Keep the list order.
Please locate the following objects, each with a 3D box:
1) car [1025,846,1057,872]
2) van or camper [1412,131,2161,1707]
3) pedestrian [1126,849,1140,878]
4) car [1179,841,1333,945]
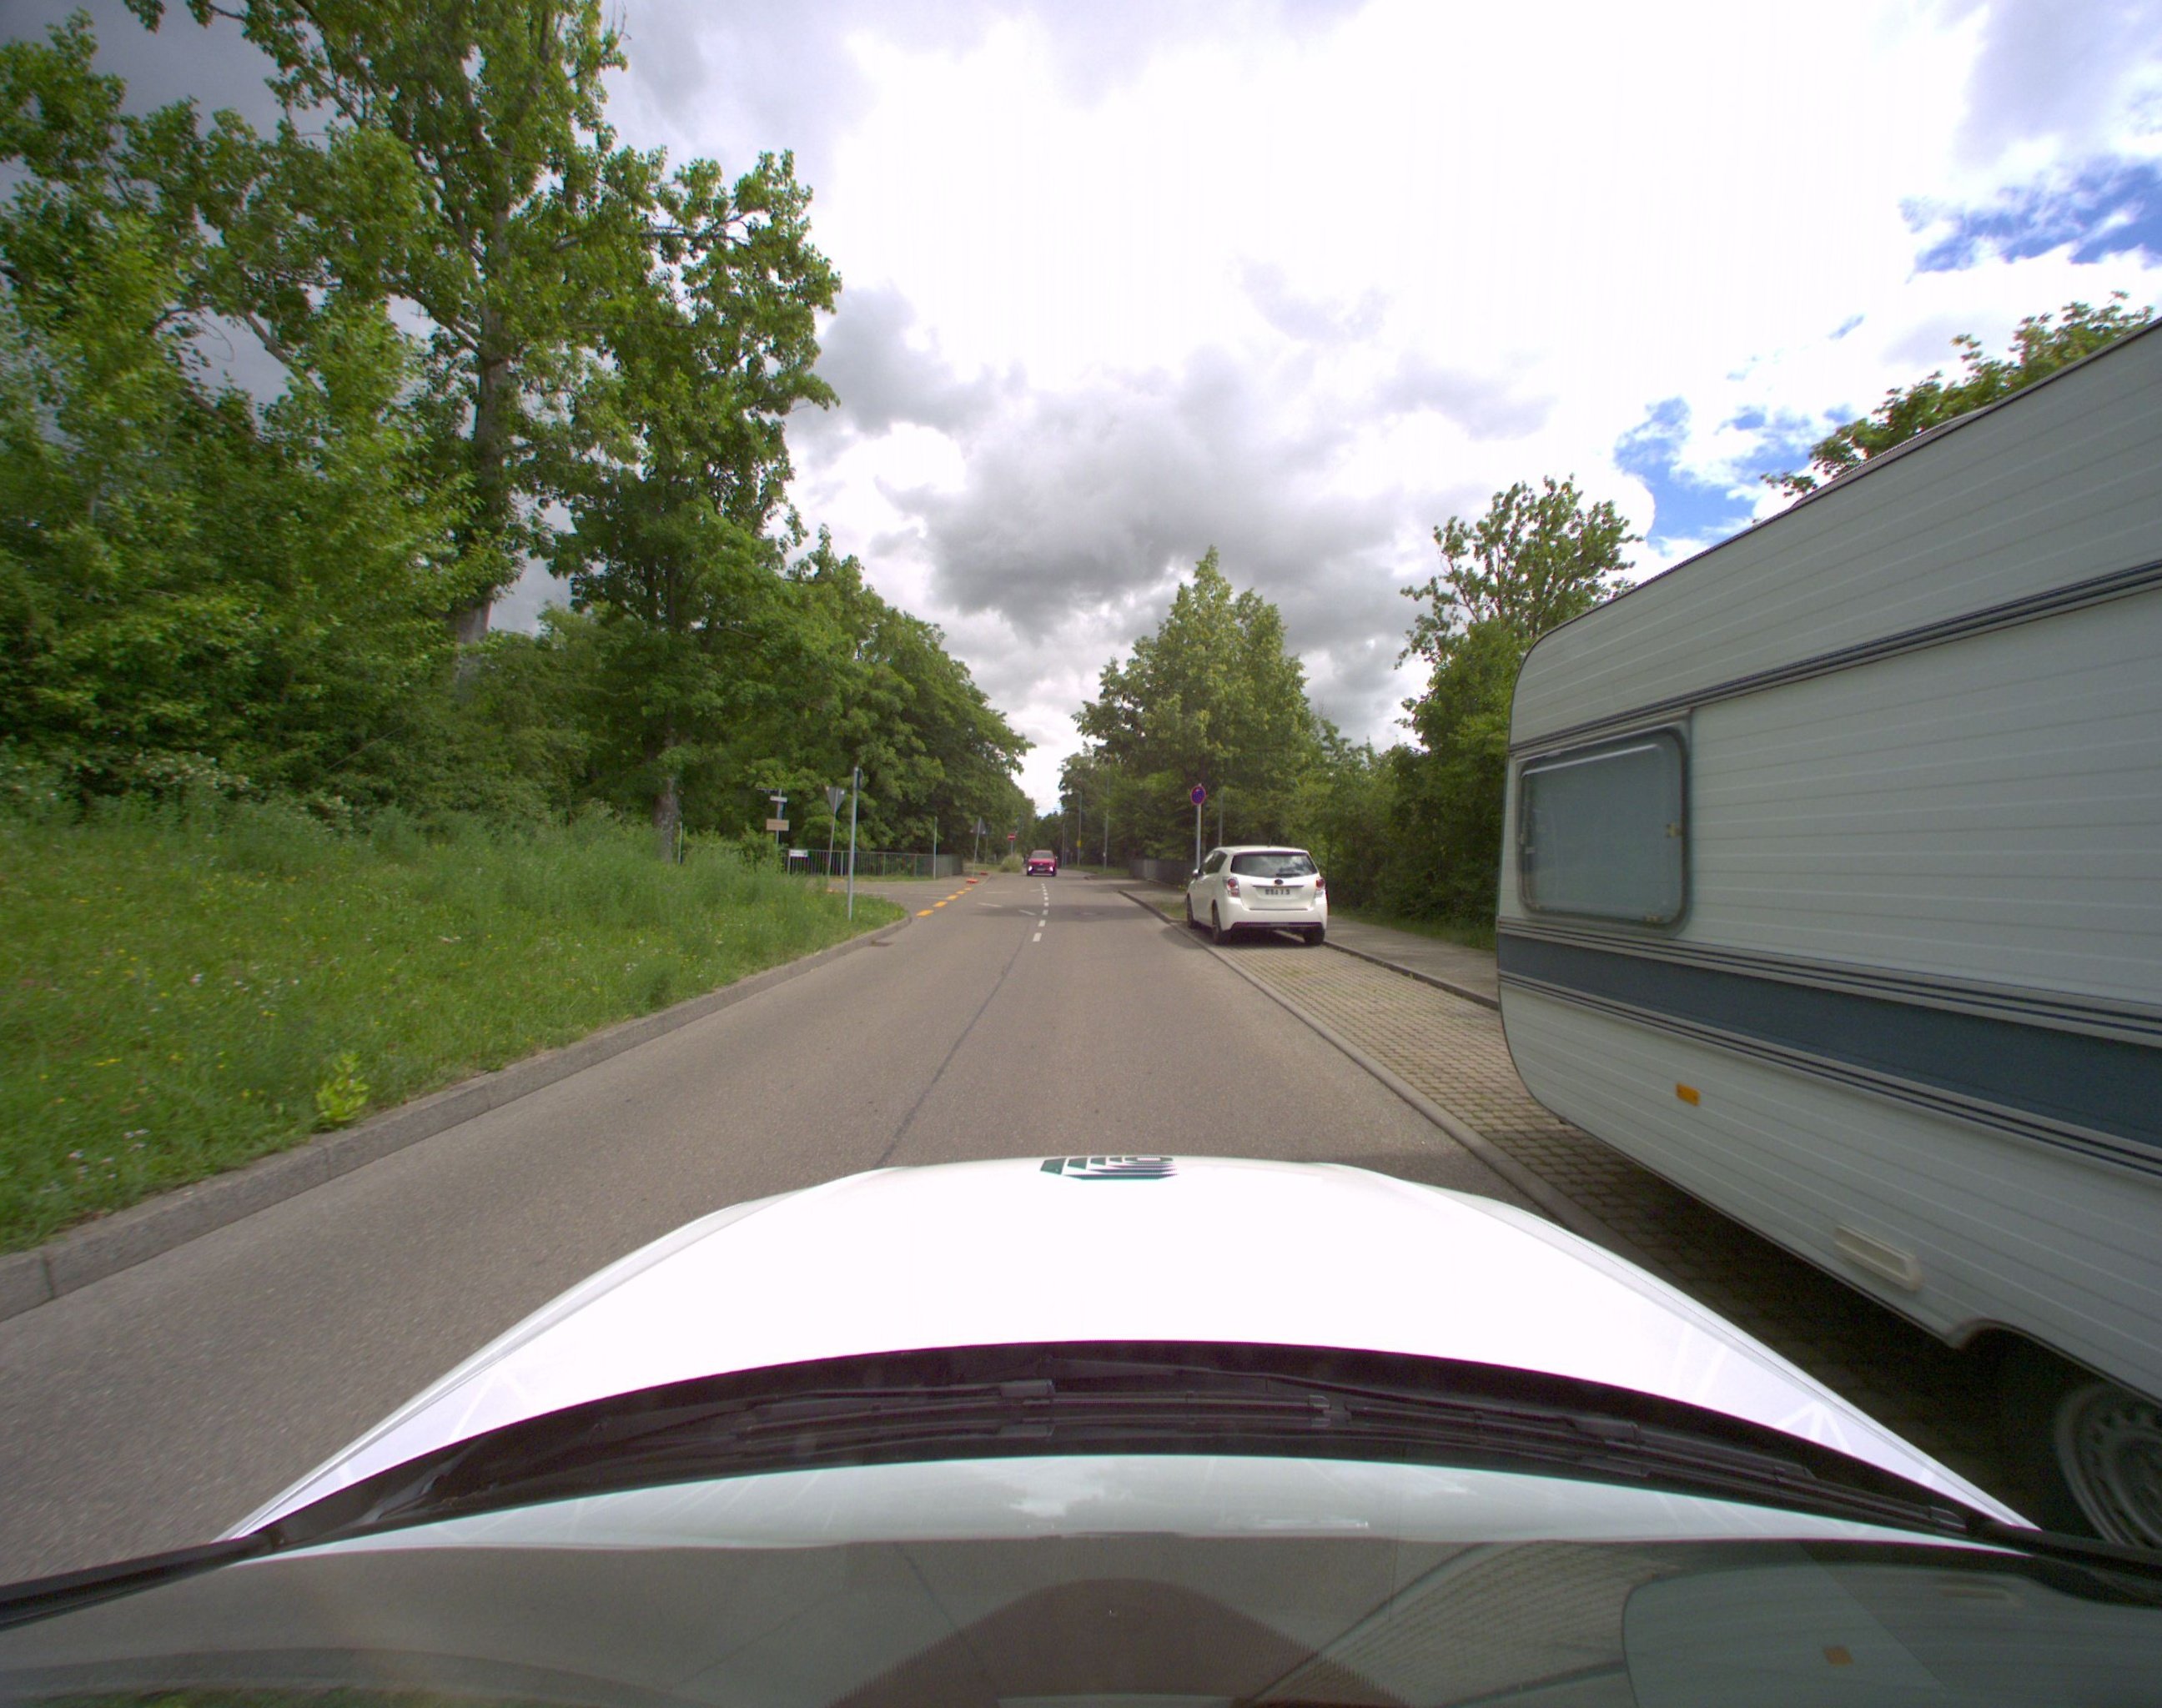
[{"bbox_3d":[-2.562,0.319,53.183,1.837,1.659,4.220,1,0,0],"label":"car"},{"bbox_3d":[2.897,0.128,1.726,2.347,2.554,5.074,-1,-1,0],"label":"van or camper"},{"bbox_3d":[3.290,0.606,51.741,0.592,1.783,0.674,3,-3,-40],"label":"pedestrian"},{"bbox_3d":[3.009,0.612,14.918,1.800,1.600,4.369,-1,0,-1],"label":"car"}]
